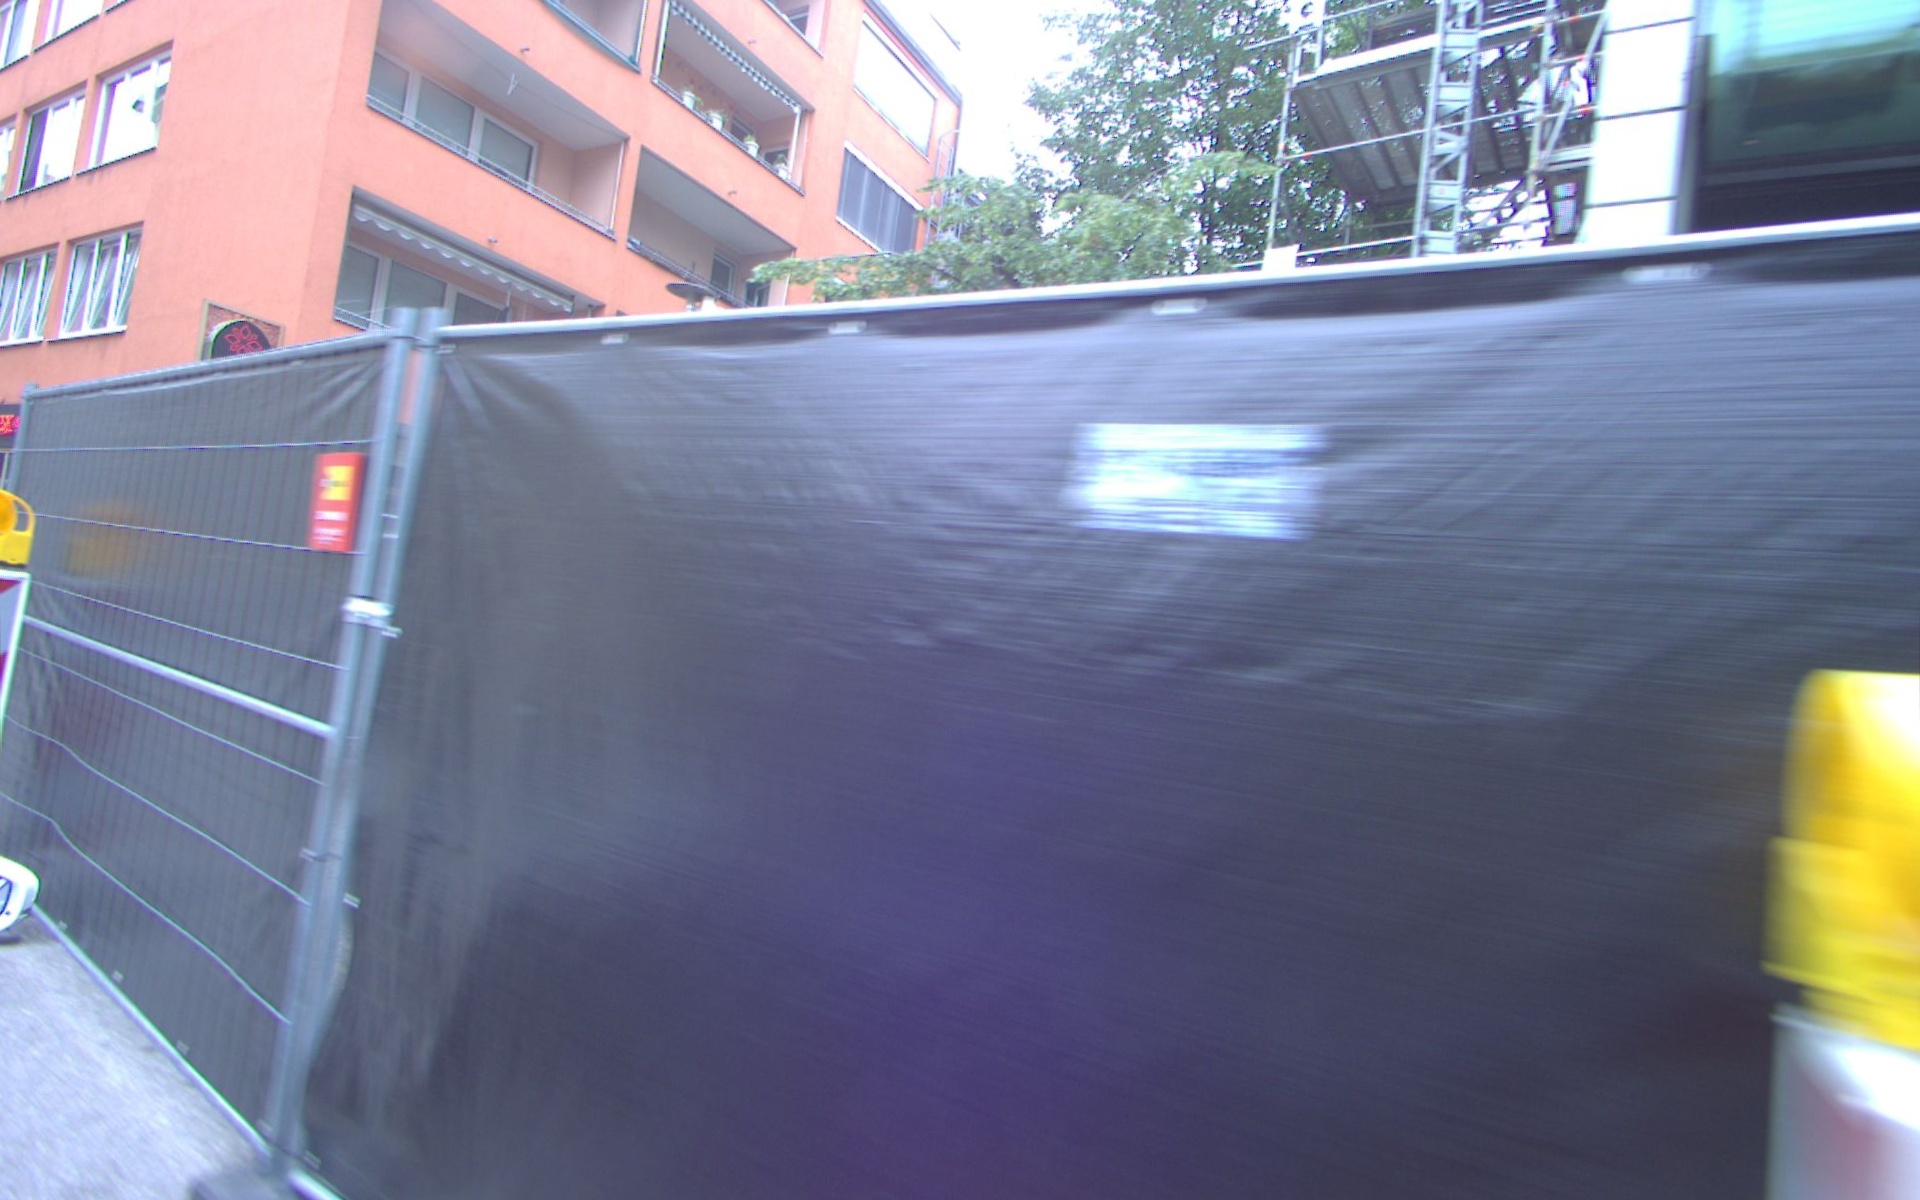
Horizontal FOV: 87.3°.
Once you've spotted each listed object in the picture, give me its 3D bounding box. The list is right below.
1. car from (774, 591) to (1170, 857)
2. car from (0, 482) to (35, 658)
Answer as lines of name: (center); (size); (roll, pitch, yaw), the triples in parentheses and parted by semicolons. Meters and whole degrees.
car: (0.345, 1.114, 9.006); (1.745, 1.696, 3.749); (6, -5, 31)
car: (-11.745, -0.584, 10.512); (4.317, 1.728, 1.829); (6, -4, 33)
